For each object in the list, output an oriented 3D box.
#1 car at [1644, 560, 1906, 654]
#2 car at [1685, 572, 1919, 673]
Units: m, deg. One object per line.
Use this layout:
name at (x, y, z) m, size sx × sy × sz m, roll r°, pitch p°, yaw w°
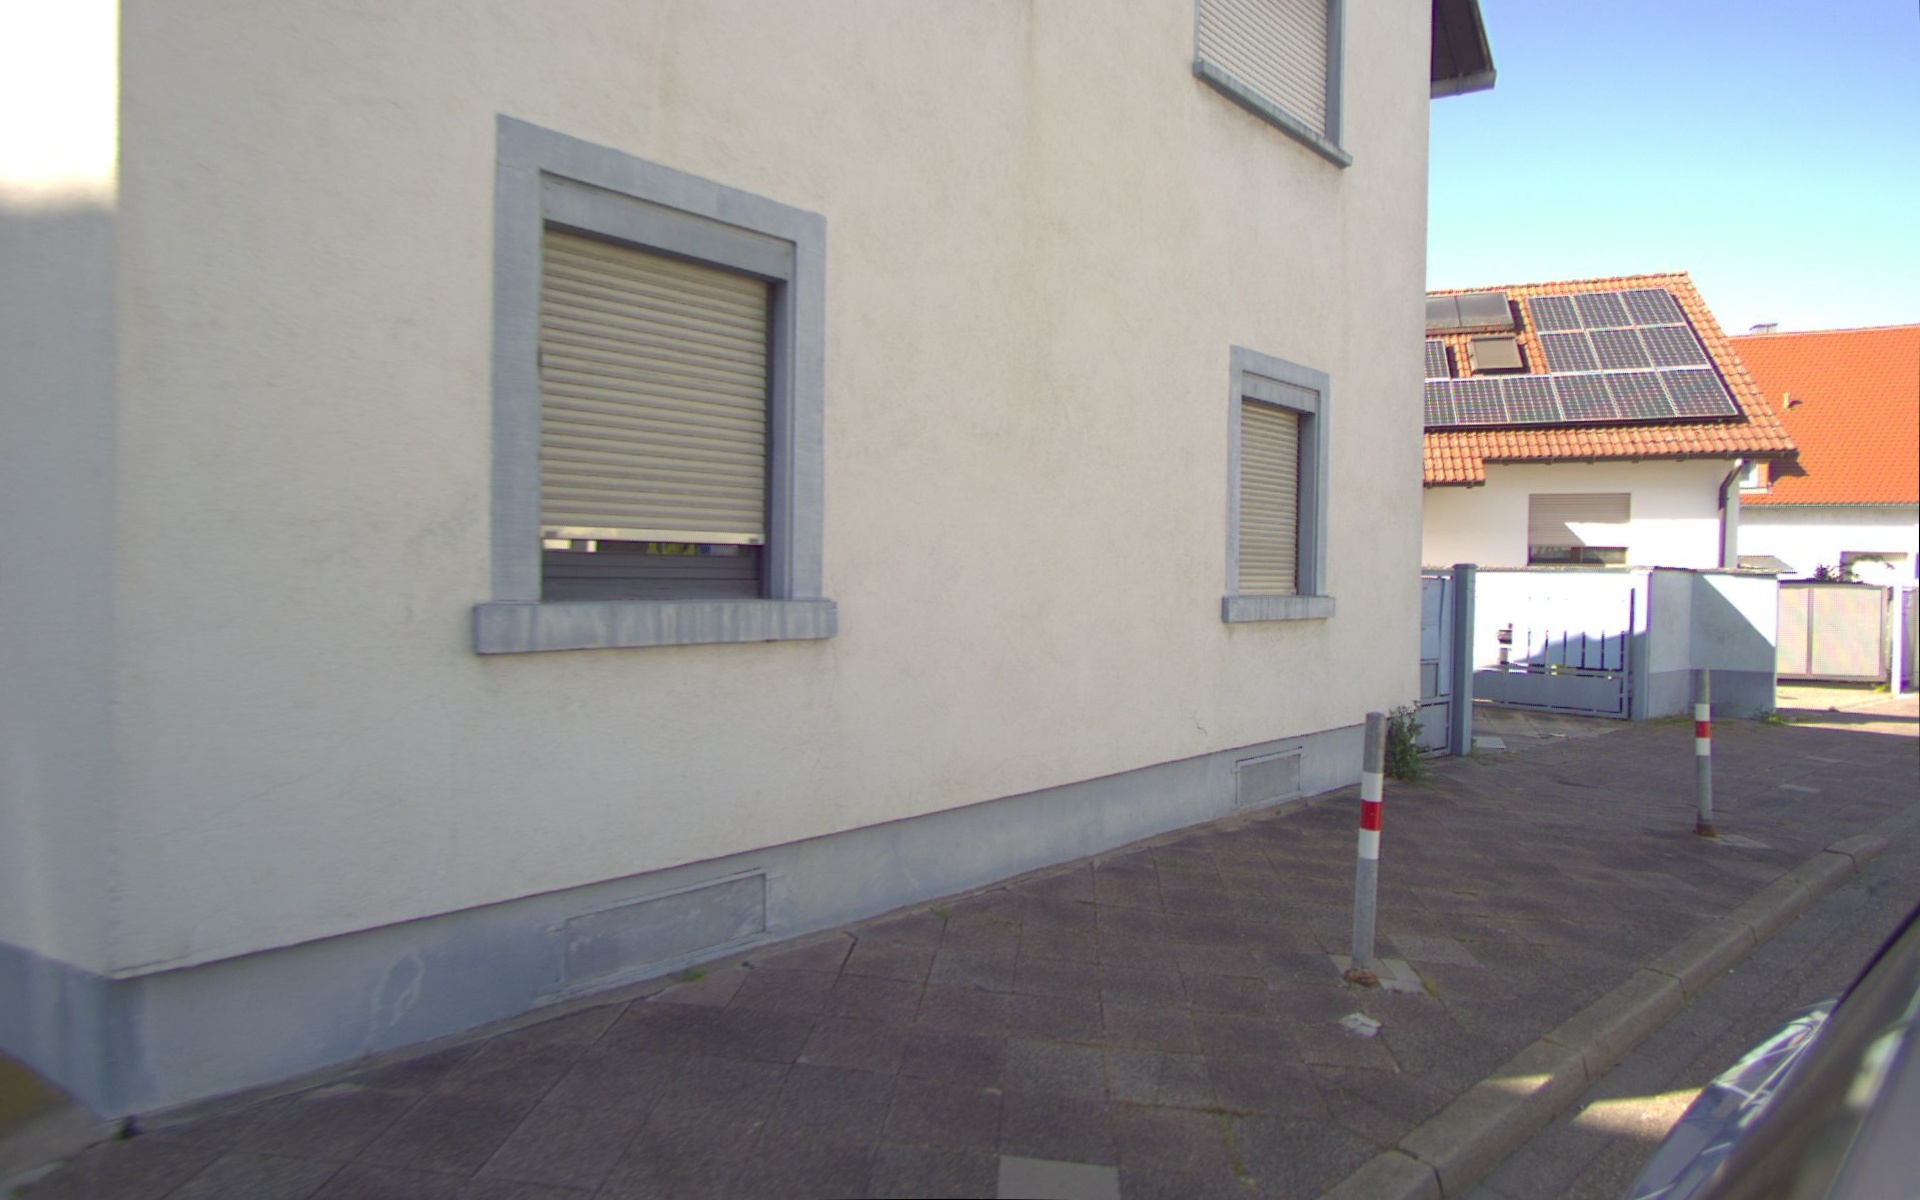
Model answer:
car at (17.230, 0.092, 21.685) m, size 4.015 × 1.709 × 1.892 m, roll 3°, pitch 2°, yaw 30°
car at (15.682, 0.339, 18.136) m, size 1.809 × 1.510 × 3.934 m, roll 0°, pitch 3°, yaw -25°
